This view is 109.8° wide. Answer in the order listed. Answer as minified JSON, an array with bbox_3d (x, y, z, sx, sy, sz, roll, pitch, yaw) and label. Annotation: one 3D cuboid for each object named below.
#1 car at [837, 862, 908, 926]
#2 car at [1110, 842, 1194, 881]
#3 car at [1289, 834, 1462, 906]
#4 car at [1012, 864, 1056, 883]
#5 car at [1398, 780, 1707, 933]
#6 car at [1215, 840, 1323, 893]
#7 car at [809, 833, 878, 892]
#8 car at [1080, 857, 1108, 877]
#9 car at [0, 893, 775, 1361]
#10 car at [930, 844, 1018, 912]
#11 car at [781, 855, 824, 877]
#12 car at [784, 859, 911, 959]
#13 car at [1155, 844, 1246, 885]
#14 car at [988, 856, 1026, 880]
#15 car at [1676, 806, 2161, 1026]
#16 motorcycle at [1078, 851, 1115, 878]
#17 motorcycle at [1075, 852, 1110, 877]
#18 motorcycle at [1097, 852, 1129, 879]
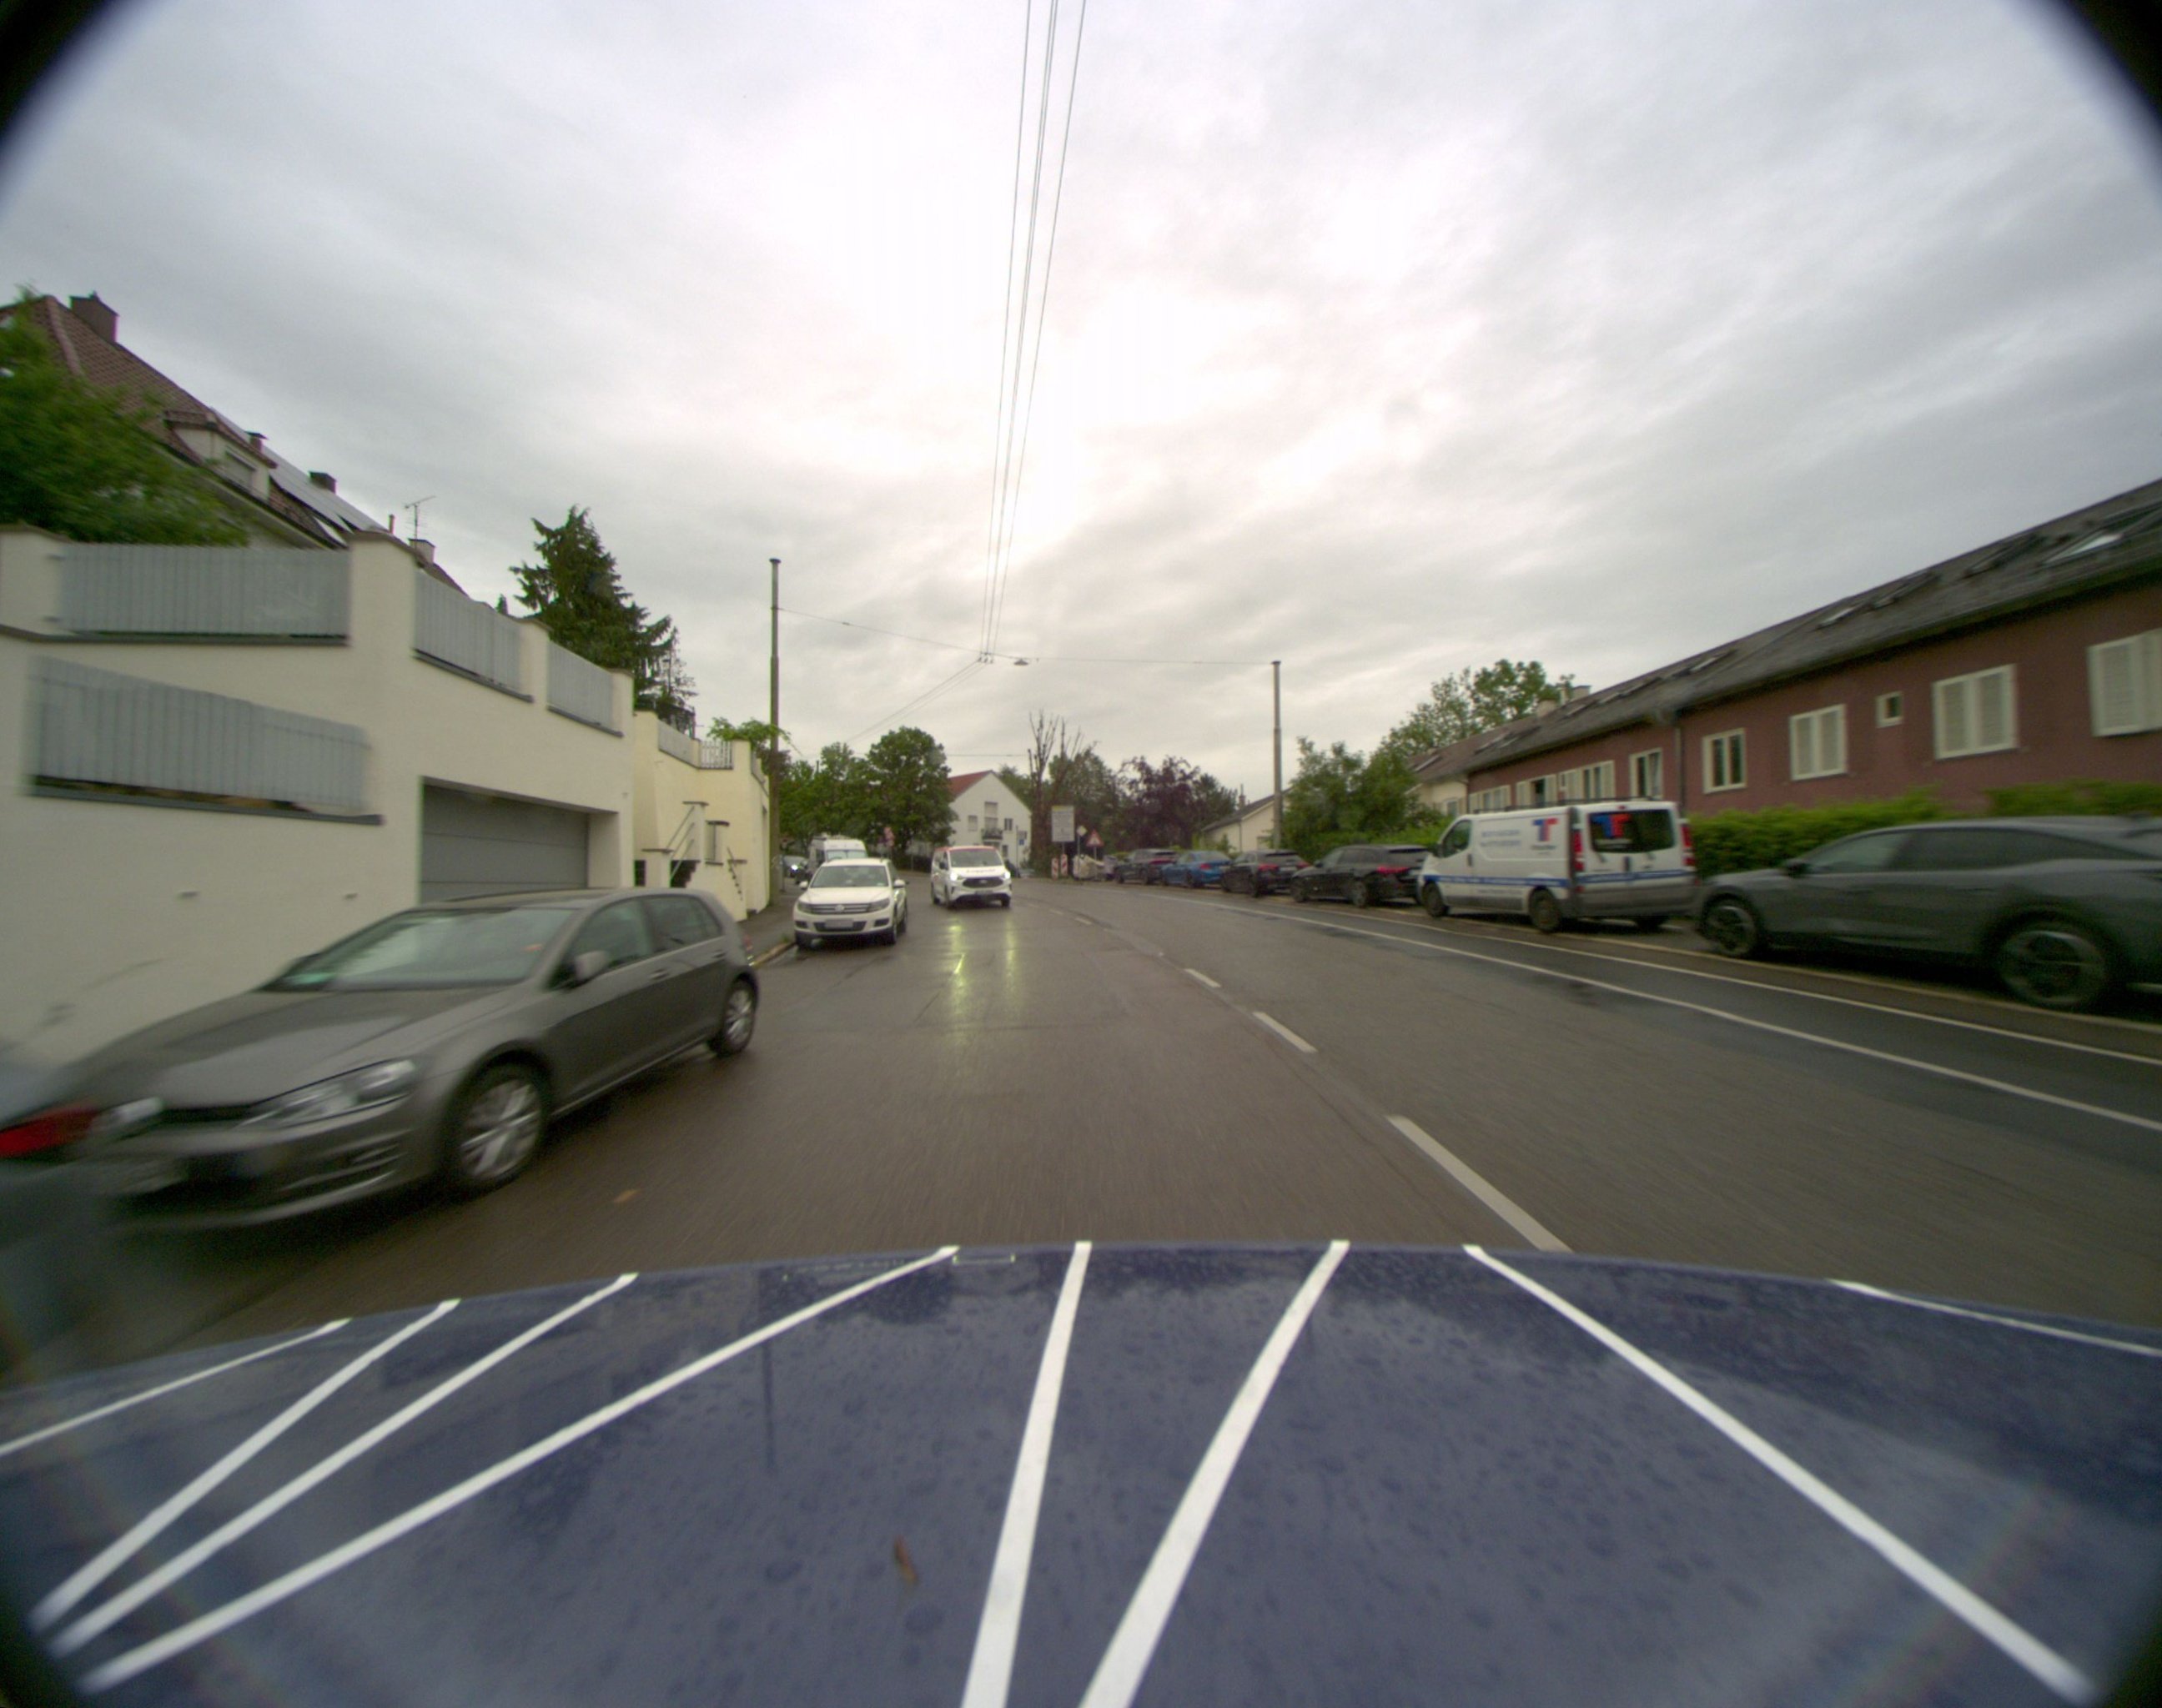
[{"bbox_3d":[-5.752,1.029,21.358,1.684,1.475,4.196,-2,1,-13],"label":"car"},{"bbox_3d":[3.126,0.329,34.395,1.929,1.568,4.380,-3,1,-21],"label":"car"},{"bbox_3d":[6.900,0.329,18.411,1.814,1.468,4.518,-2,1,-10],"label":"car"},{"bbox_3d":[-3.867,1.607,63.401,1.837,1.485,4.089,2,0,27],"label":"car"},{"bbox_3d":[7.691,0.010,13.167,1.854,2.067,5.017,-2,1,-5],"label":"car"},{"bbox_3d":[5.837,0.346,24.220,1.814,1.468,4.519,-2,1,-7],"label":"car"},{"bbox_3d":[-11.272,0.339,35.743,2.109,2.528,5.606,1,1,-28],"label":"car"},{"bbox_3d":[0.888,0.887,54.391,1.554,1.319,3.561,2,0,-6],"label":"car"},{"bbox_3d":[-3.630,1.086,4.782,1.645,1.428,4.173,-2,0,0],"label":"car"},{"bbox_3d":[-3.629,0.717,24.977,2.044,1.928,4.508,-3,1,-18],"label":"car"},{"bbox_3d":[-19.272,0.797,52.453,1.993,1.428,4.503,1,1,-31],"label":"car"},{"bbox_3d":[-4.552,0.967,15.418,1.809,1.639,4.206,-2,1,-9],"label":"car"},{"bbox_3d":[4.535,0.403,29.557,1.705,1.396,4.466,-3,0,-17],"label":"car"},{"bbox_3d":[-5.568,1.017,57.533,1.839,1.656,3.944,2,2,9],"label":"car"},{"bbox_3d":[8.130,0.364,6.941,1.813,1.468,4.521,-2,1,0],"label":"car"},{"bbox_3d":[0.813,0.534,39.706,1.805,1.296,0.613,-3,1,5],"label":"motorcycle"},{"bbox_3d":[0.621,0.552,41.157,1.809,1.272,0.510,-2,1,-23],"label":"motorcycle"},{"bbox_3d":[1.632,0.563,38.606,0.574,1.264,1.910,-2,1,36],"label":"motorcycle"}]
